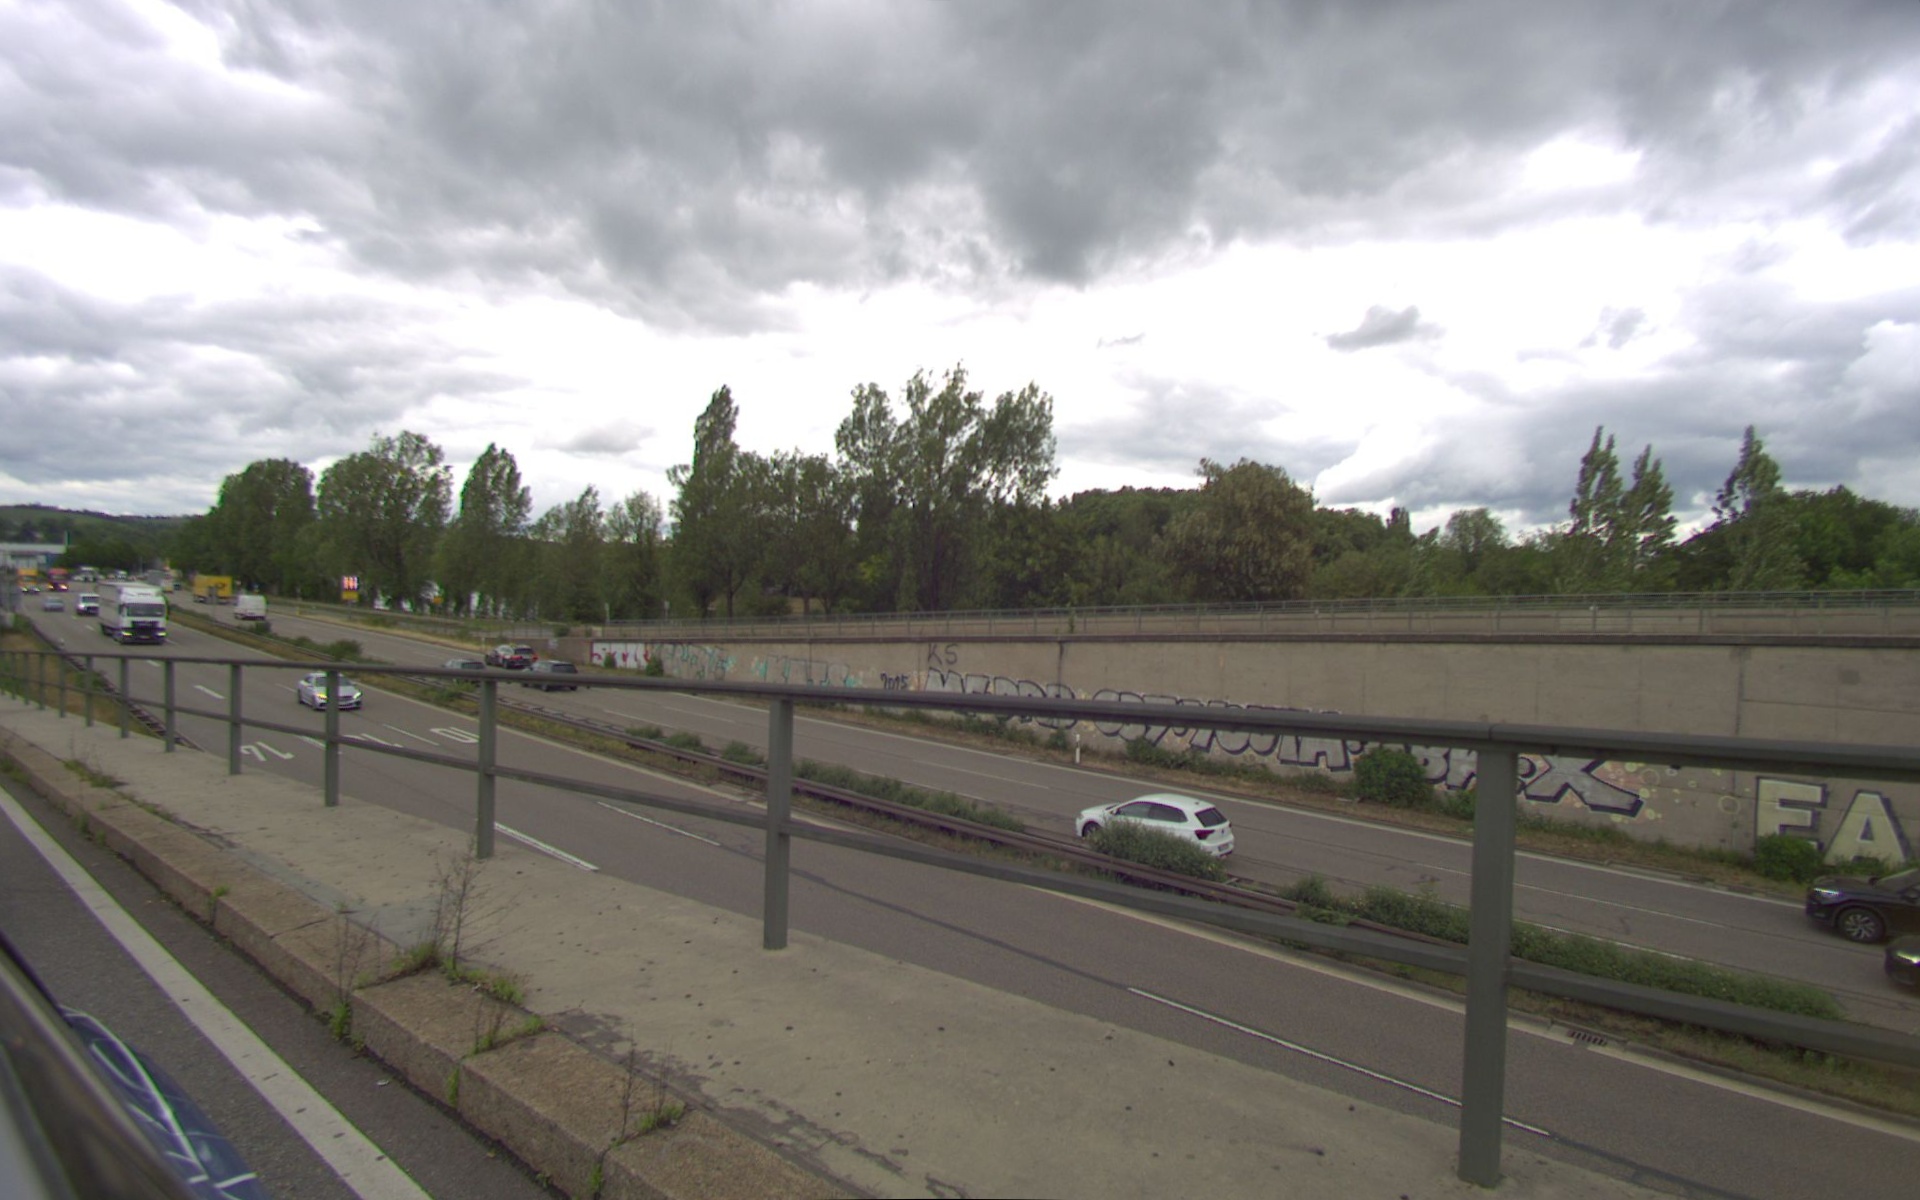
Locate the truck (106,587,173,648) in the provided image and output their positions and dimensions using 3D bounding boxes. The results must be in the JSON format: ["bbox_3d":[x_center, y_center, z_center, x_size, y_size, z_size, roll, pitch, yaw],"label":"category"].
[{"bbox_3d":[-59.583,1.222,73.475,5.876,4.140,2.969,2,0,44],"label":"truck"}]

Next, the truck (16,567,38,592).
[{"bbox_3d":[-166.091,-3.725,180.166,8.175,4.153,2.382,3,1,44],"label":"truck"}]

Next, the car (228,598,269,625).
[{"bbox_3d":[-75.298,1.187,107.039,6.101,2.613,2.144,2,0,42],"label":"car"}]

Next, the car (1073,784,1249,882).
[{"bbox_3d":[4.957,5.707,25.231,3.896,1.505,1.756,2,-1,41],"label":"car"}]

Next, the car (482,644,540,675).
[{"bbox_3d":[-29.452,3.879,66.310,4.635,1.664,1.839,2,0,44],"label":"car"}]

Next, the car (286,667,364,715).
[{"bbox_3d":[-28.414,4.012,45.210,4.439,1.582,1.830,3,2,43],"label":"car"}]

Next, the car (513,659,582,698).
[{"bbox_3d":[-22.483,4.247,55.088,4.183,1.731,1.861,2,0,43],"label":"car"}]

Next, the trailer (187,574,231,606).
[{"bbox_3d":[-109.141,-1.489,146.983,3.203,4.294,13.691,2,0,-44],"label":"trailer"}]

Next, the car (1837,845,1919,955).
[{"bbox_3d":[20.292,6.197,19.883,4.577,1.638,1.973,2,-1,41],"label":"car"}]

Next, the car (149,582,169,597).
[{"bbox_3d":[-156.866,-1.999,198.156,6.715,2.648,1.972,2,-1,43],"label":"car"}]

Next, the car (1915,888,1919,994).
[{"bbox_3d":[18.858,6.195,16.552,4.577,1.638,1.973,2,-1,41],"label":"car"}]

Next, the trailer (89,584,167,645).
[{"bbox_3d":[-64.385,1.004,78.147,13.994,4.140,2.969,2,0,44],"label":"trailer"}]

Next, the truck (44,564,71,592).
[{"bbox_3d":[-167.081,-4.070,187.336,9.922,4.774,2.717,2,-2,44],"label":"truck"}]

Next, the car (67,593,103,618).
[{"bbox_3d":[-90.041,0.590,104.099,6.502,2.259,2.076,3,0,43],"label":"car"}]

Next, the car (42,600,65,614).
[{"bbox_3d":[-98.135,0.761,109.542,3.538,1.383,1.492,3,0,43],"label":"car"}]

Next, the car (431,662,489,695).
[{"bbox_3d":[-27.242,4.241,55.075,3.652,1.464,1.695,3,1,44],"label":"car"}]

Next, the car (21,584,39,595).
[{"bbox_3d":[-147.230,-1.646,160.241,4.002,1.679,1.786,3,1,44],"label":"car"}]
